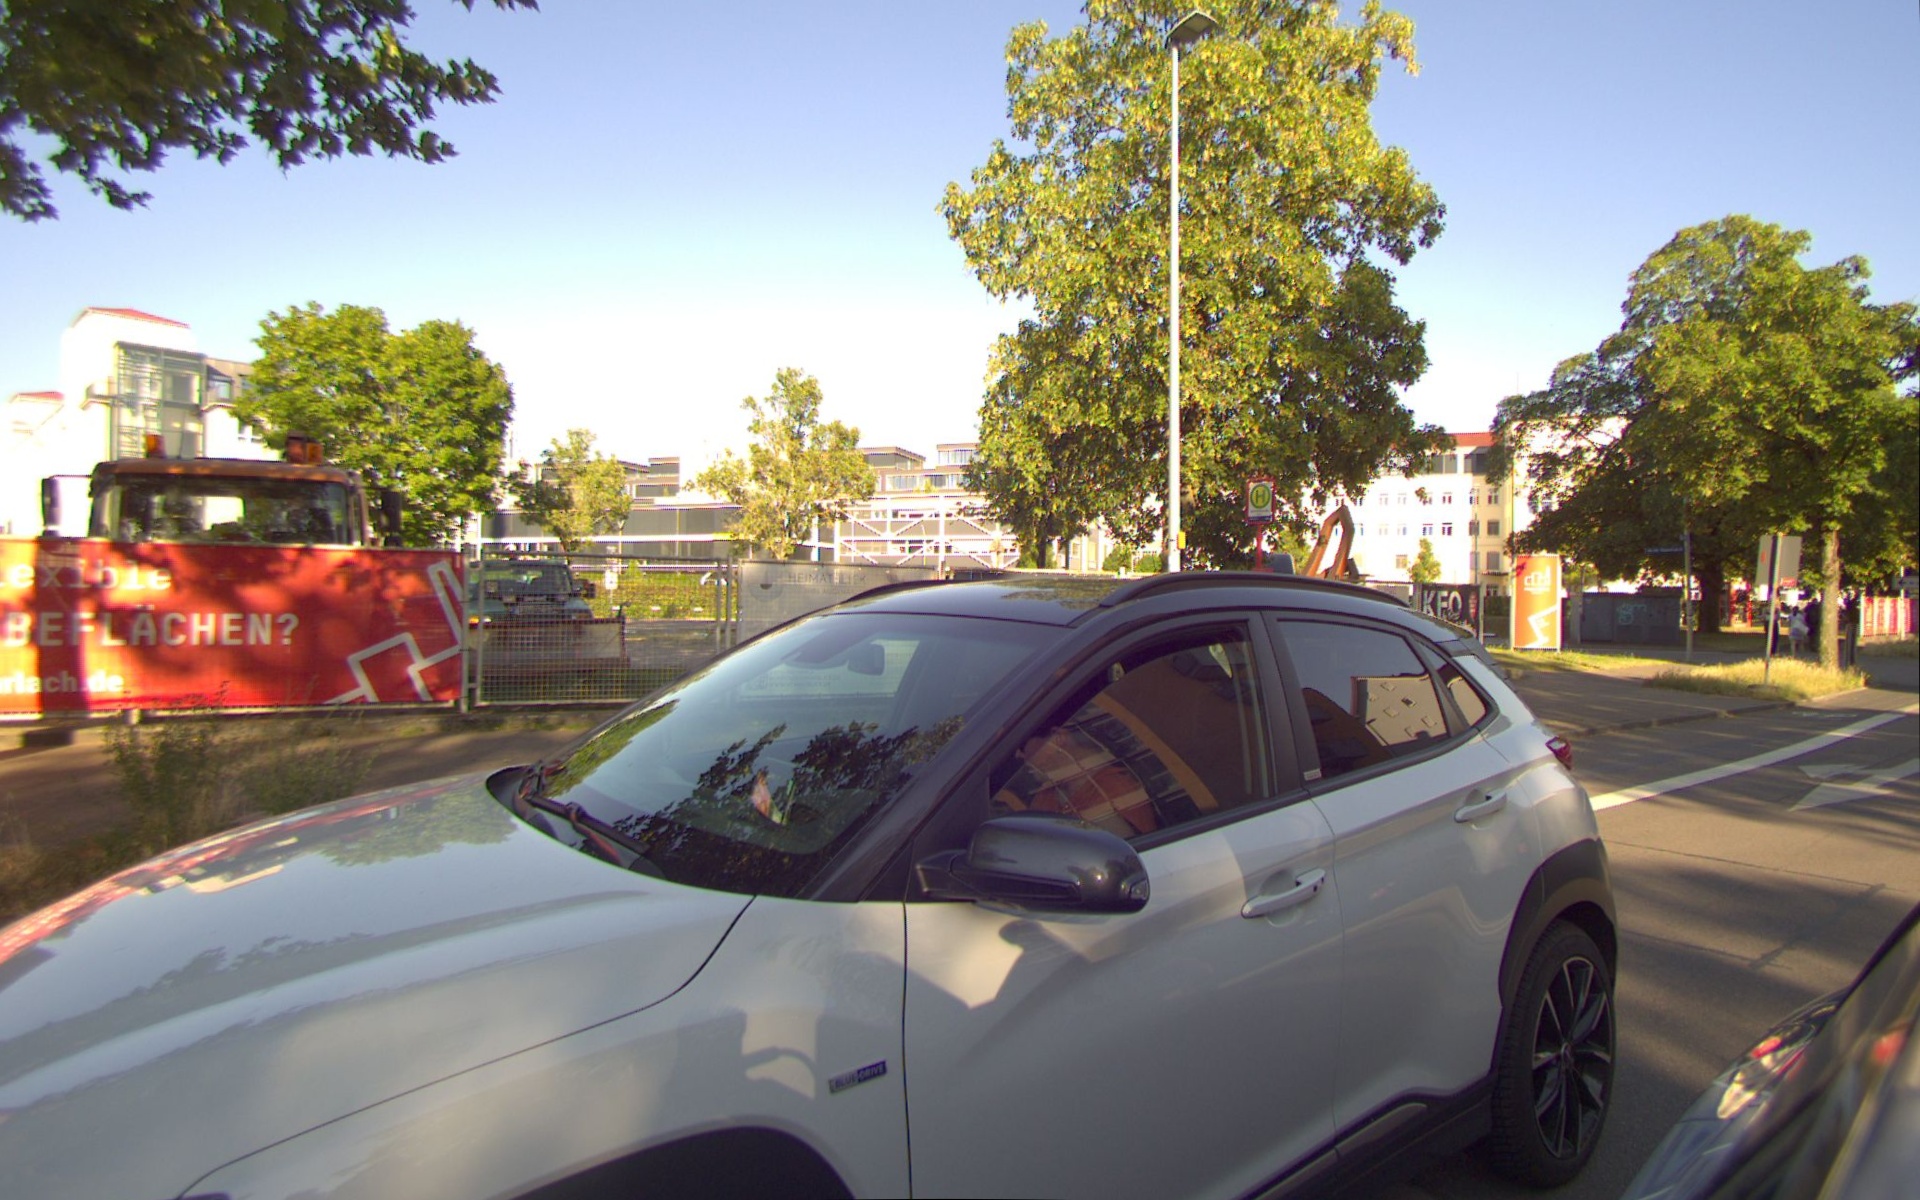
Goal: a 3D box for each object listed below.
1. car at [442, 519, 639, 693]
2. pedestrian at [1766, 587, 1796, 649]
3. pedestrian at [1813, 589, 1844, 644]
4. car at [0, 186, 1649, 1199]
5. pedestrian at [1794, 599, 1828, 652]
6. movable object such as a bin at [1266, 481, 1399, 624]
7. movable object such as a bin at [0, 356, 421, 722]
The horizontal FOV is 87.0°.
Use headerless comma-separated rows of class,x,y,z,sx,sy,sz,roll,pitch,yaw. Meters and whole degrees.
car,-5.664,0.044,13.301,2.001,1.851,4.612,0,0,-28
pedestrian,23.552,0.502,29.029,0.607,1.759,0.629,0,0,44
pedestrian,27.267,0.510,31.793,0.692,1.689,0.630,0,0,38
car,-0.046,0.553,2.523,3.893,1.618,1.894,3,-2,-39
pedestrian,23.702,0.695,28.189,0.627,1.452,0.609,0,0,-40
movable object such as a bin,15.527,-1.883,42.768,3.910,5.547,6.022,0,0,6
movable object such as a bin,-8.388,-0.549,12.062,3.154,3.087,6.295,0,0,-31
